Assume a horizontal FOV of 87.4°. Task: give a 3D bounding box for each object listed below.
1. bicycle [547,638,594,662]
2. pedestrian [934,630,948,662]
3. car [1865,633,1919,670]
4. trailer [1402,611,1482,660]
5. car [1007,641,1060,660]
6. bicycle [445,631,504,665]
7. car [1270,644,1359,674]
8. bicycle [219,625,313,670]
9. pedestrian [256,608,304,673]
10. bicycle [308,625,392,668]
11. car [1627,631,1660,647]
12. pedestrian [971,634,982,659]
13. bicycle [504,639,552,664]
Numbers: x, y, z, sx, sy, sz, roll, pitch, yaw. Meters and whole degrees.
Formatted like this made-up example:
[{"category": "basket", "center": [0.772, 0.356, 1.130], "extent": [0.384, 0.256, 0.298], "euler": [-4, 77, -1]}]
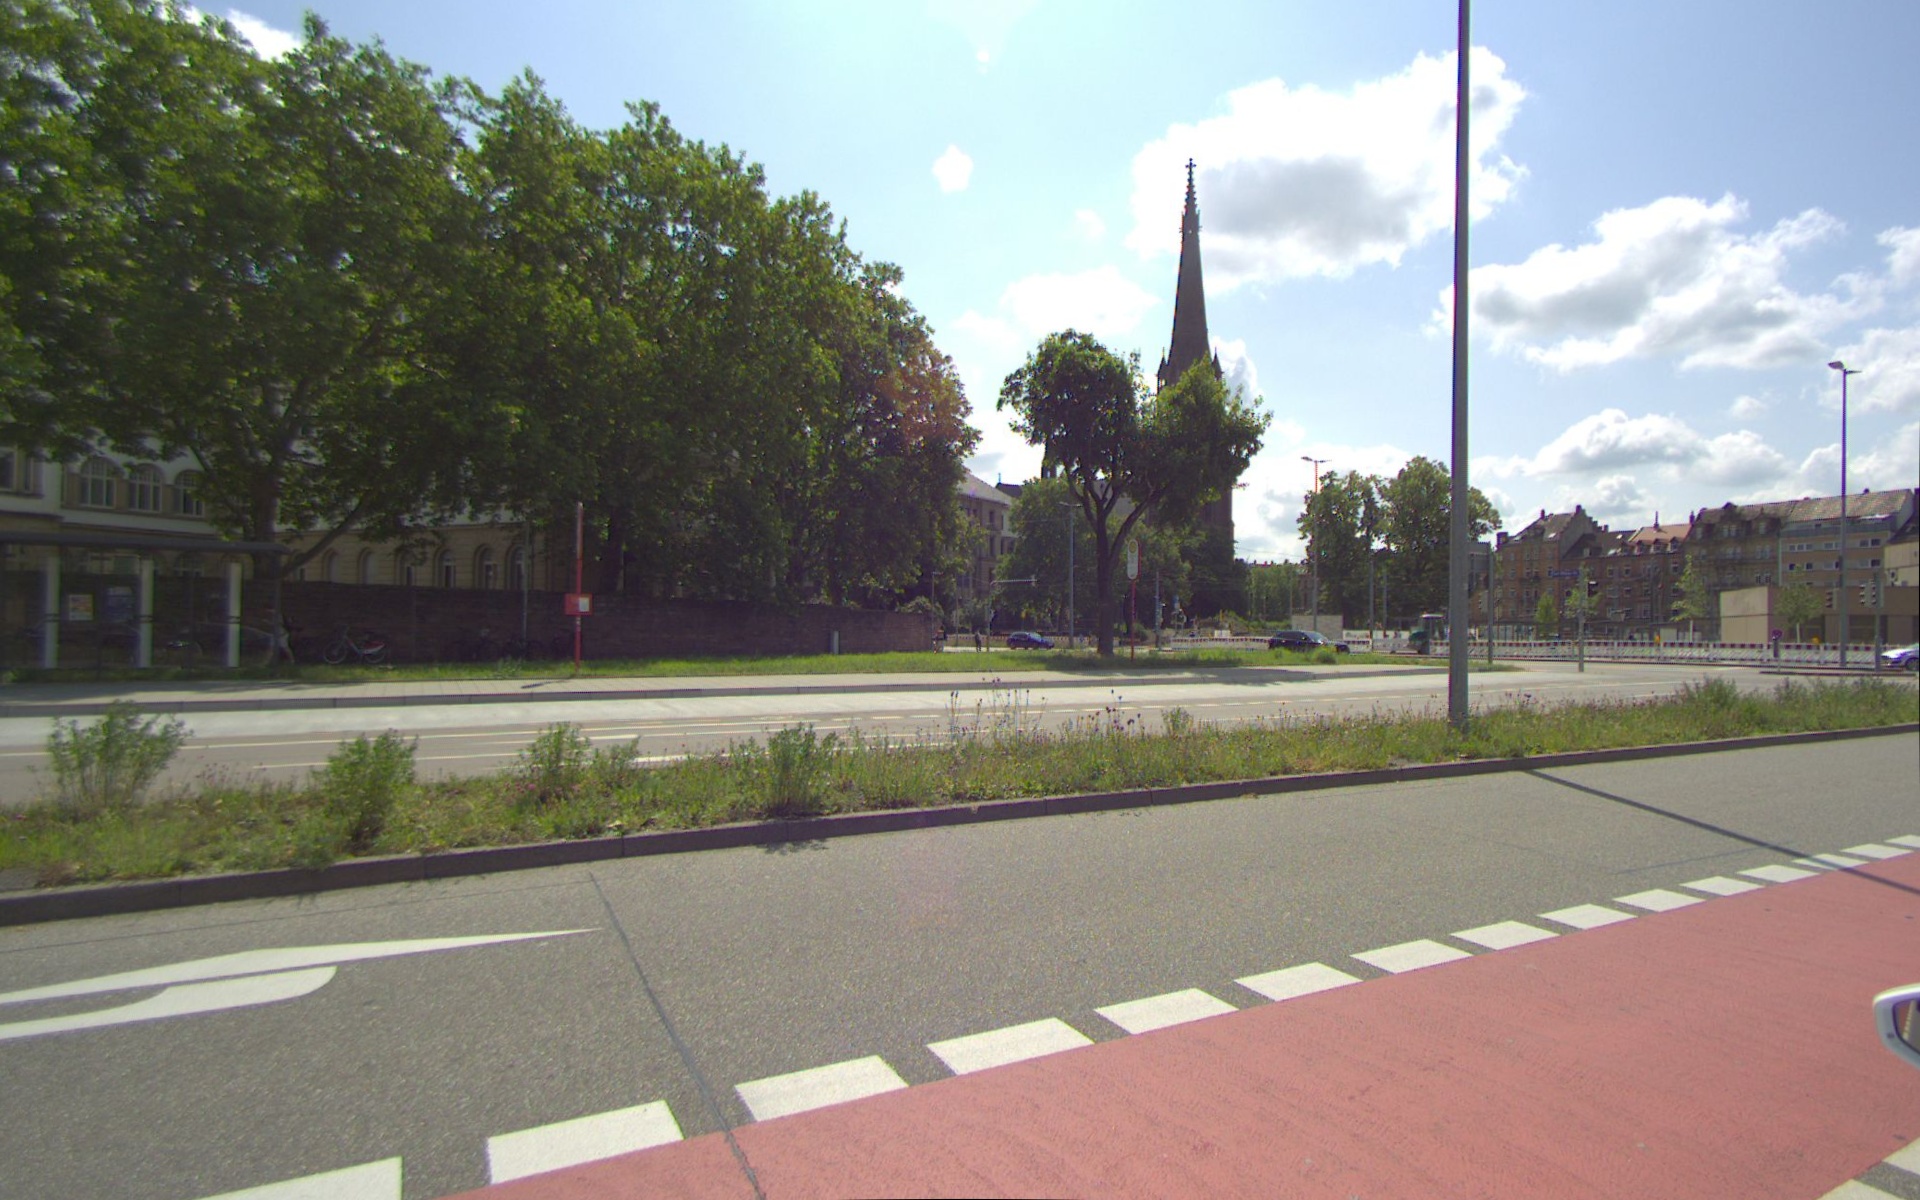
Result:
[{"category": "bicycle", "center": [-13.263, 1.692, 34.253], "extent": [0.391, 0.799, 1.540], "euler": [0, -2, 33]}, {"category": "pedestrian", "center": [-1.061, 2.499, 54.956], "extent": [0.479, 1.718, 0.679], "euler": [2, 0, 22]}, {"category": "car", "center": [43.140, 2.336, 44.581], "extent": [3.938, 1.528, 2.000], "euler": [2, -1, 20]}, {"category": "trailer", "center": [31.575, 2.303, 65.905], "extent": [4.277, 2.952, 2.001], "euler": [2, 0, 7]}, {"category": "car", "center": [6.125, 4.194, 84.156], "extent": [1.979, 1.505, 4.625], "euler": [2, -2, -34]}, {"category": "bicycle", "center": [-15.128, 1.493, 31.330], "extent": [0.391, 1.043, 1.683], "euler": [0, -2, 33]}, {"category": "car", "center": [19.577, 3.222, 55.699], "extent": [1.976, 1.505, 4.475], "euler": [1, -2, -30]}, {"category": "bicycle", "center": [-18.422, 1.242, 26.703], "extent": [0.391, 1.152, 2.032], "euler": [0, -2, 36]}, {"category": "pedestrian", "center": [-17.556, 1.037, 25.950], "extent": [0.710, 1.632, 0.779], "euler": [0, -1, 31]}, {"category": "bicycle", "center": [-17.226, 1.306, 28.425], "extent": [0.391, 1.152, 2.032], "euler": [0, -2, 36]}, {"category": "car", "center": [112.959, 6.481, 166.088], "extent": [1.972, 2.374, 4.098], "euler": [2, -1, -23]}, {"category": "pedestrian", "center": [1.207, 3.439, 74.105], "extent": [0.561, 1.844, 0.436], "euler": [2, 0, 43]}, {"category": "bicycle", "center": [-14.131, 1.689, 32.891], "extent": [0.391, 0.799, 1.462], "euler": [0, -2, 33]}]
